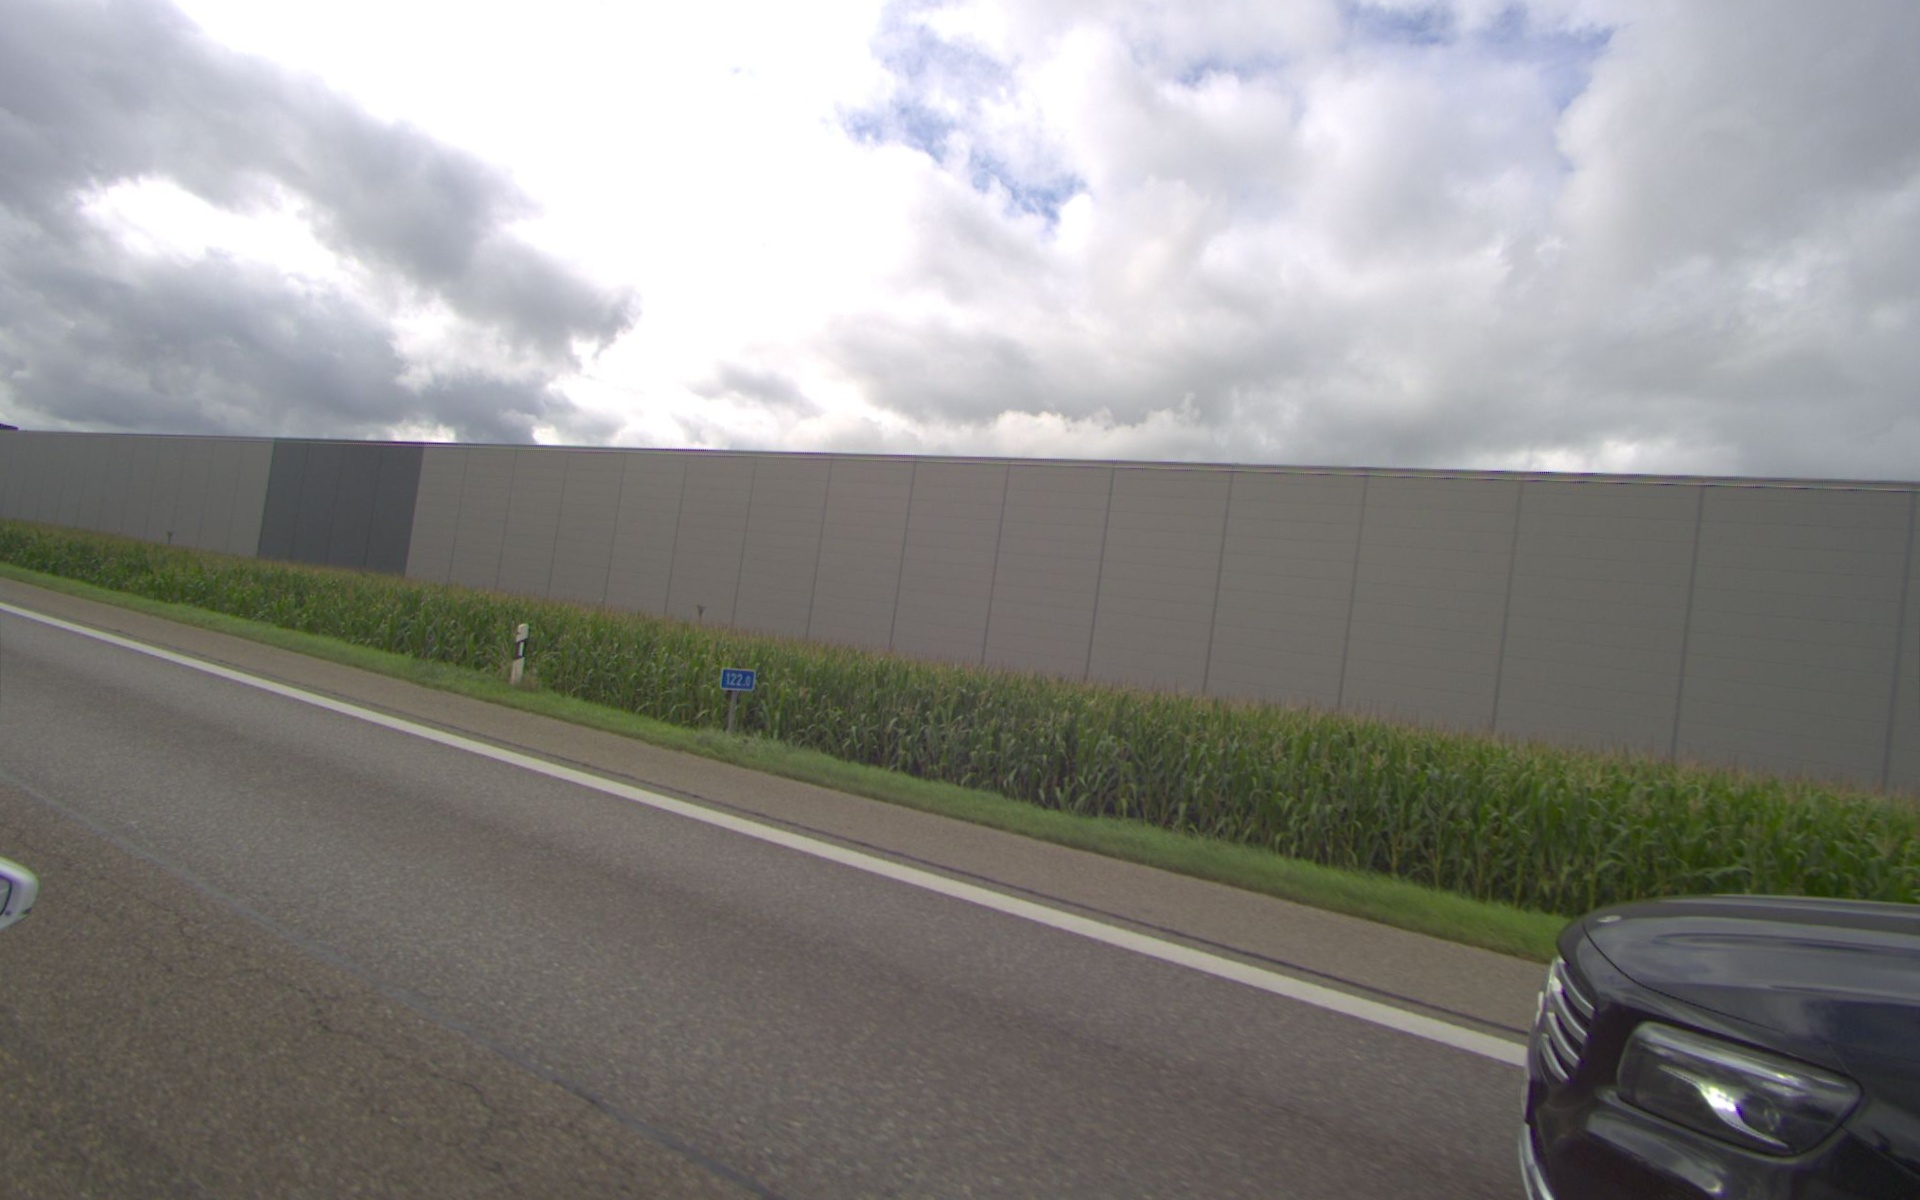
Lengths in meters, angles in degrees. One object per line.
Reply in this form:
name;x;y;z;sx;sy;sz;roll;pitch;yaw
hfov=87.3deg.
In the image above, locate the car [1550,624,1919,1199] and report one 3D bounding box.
car;3.468;1.138;1.546;4.289;1.628;1.836;6;-2;32
